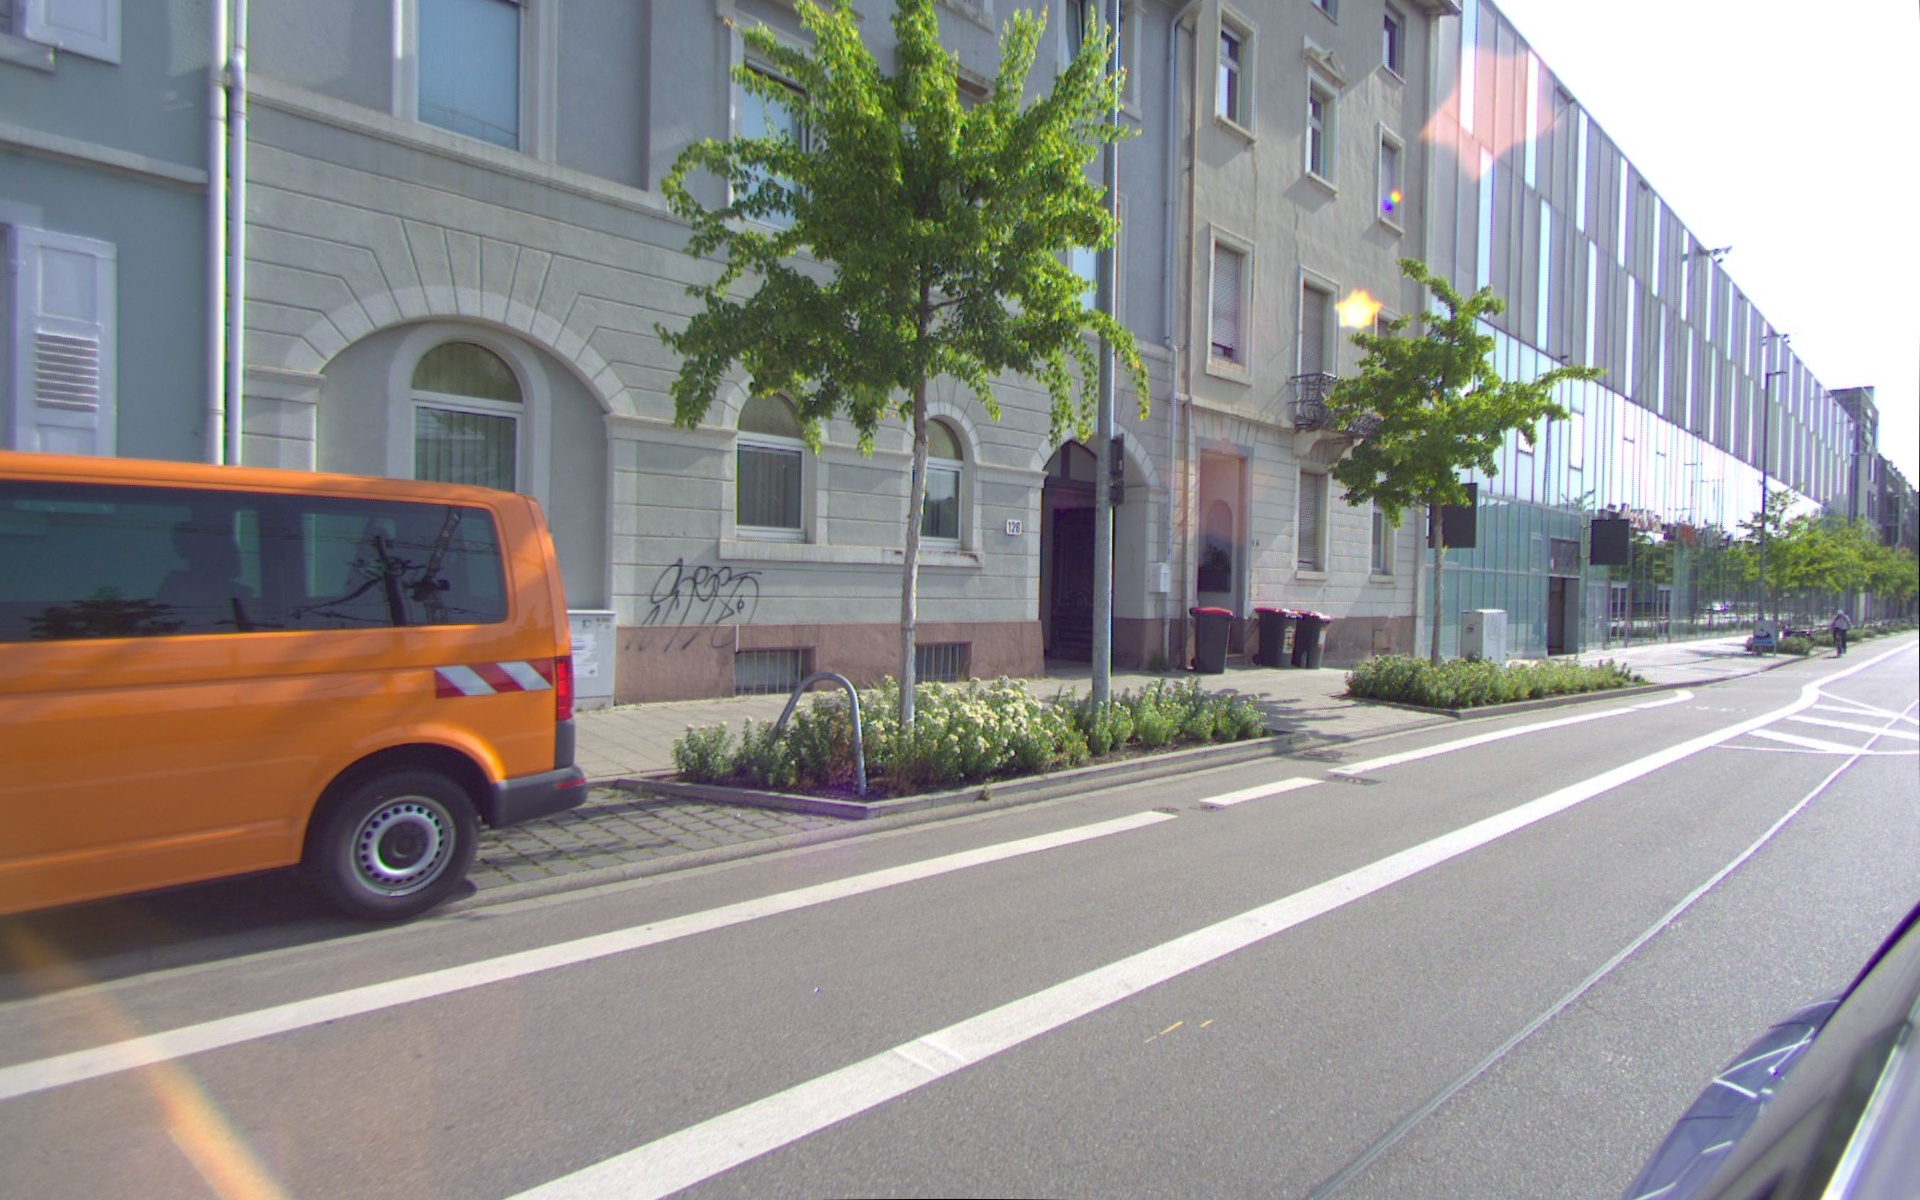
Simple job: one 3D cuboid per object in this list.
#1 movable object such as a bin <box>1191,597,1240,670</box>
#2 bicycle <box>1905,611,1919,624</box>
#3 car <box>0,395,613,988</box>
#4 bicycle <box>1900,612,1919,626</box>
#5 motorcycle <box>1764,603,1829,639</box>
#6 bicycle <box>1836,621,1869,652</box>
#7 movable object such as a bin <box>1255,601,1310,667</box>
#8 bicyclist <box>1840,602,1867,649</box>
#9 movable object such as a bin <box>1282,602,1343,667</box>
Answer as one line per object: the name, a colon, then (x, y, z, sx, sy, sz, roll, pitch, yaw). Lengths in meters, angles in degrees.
movable object such as a bin: (4.262, 0.561, 16.920, 0.659, 1.167, 0.617, 2, -1, 4)
bicycle: (83.829, 1.537, 88.370, 0.675, 1.127, 1.842, 1, -1, -40)
car: (-4.063, 0.289, 4.171, 4.510, 2.039, 2.065, 2, 0, -43)
bicycle: (80.808, 1.585, 85.587, 0.481, 1.123, 1.882, 1, 1, -40)
motorcycle: (34.247, 0.853, 41.479, 1.964, 1.366, 0.856, 2, 1, 37)
bicycle: (34.566, 1.394, 39.175, 2.014, 1.131, 0.662, 1, 1, -40)
movable object such as a bin: (5.941, 0.625, 18.656, 0.659, 1.167, 0.705, 4, -2, -43)
bicyclist: (34.604, 0.988, 39.199, 0.756, 1.771, 0.652, 1, 0, -40)
movable object such as a bin: (6.701, 0.658, 19.236, 0.794, 1.187, 0.782, 4, -2, -43)
